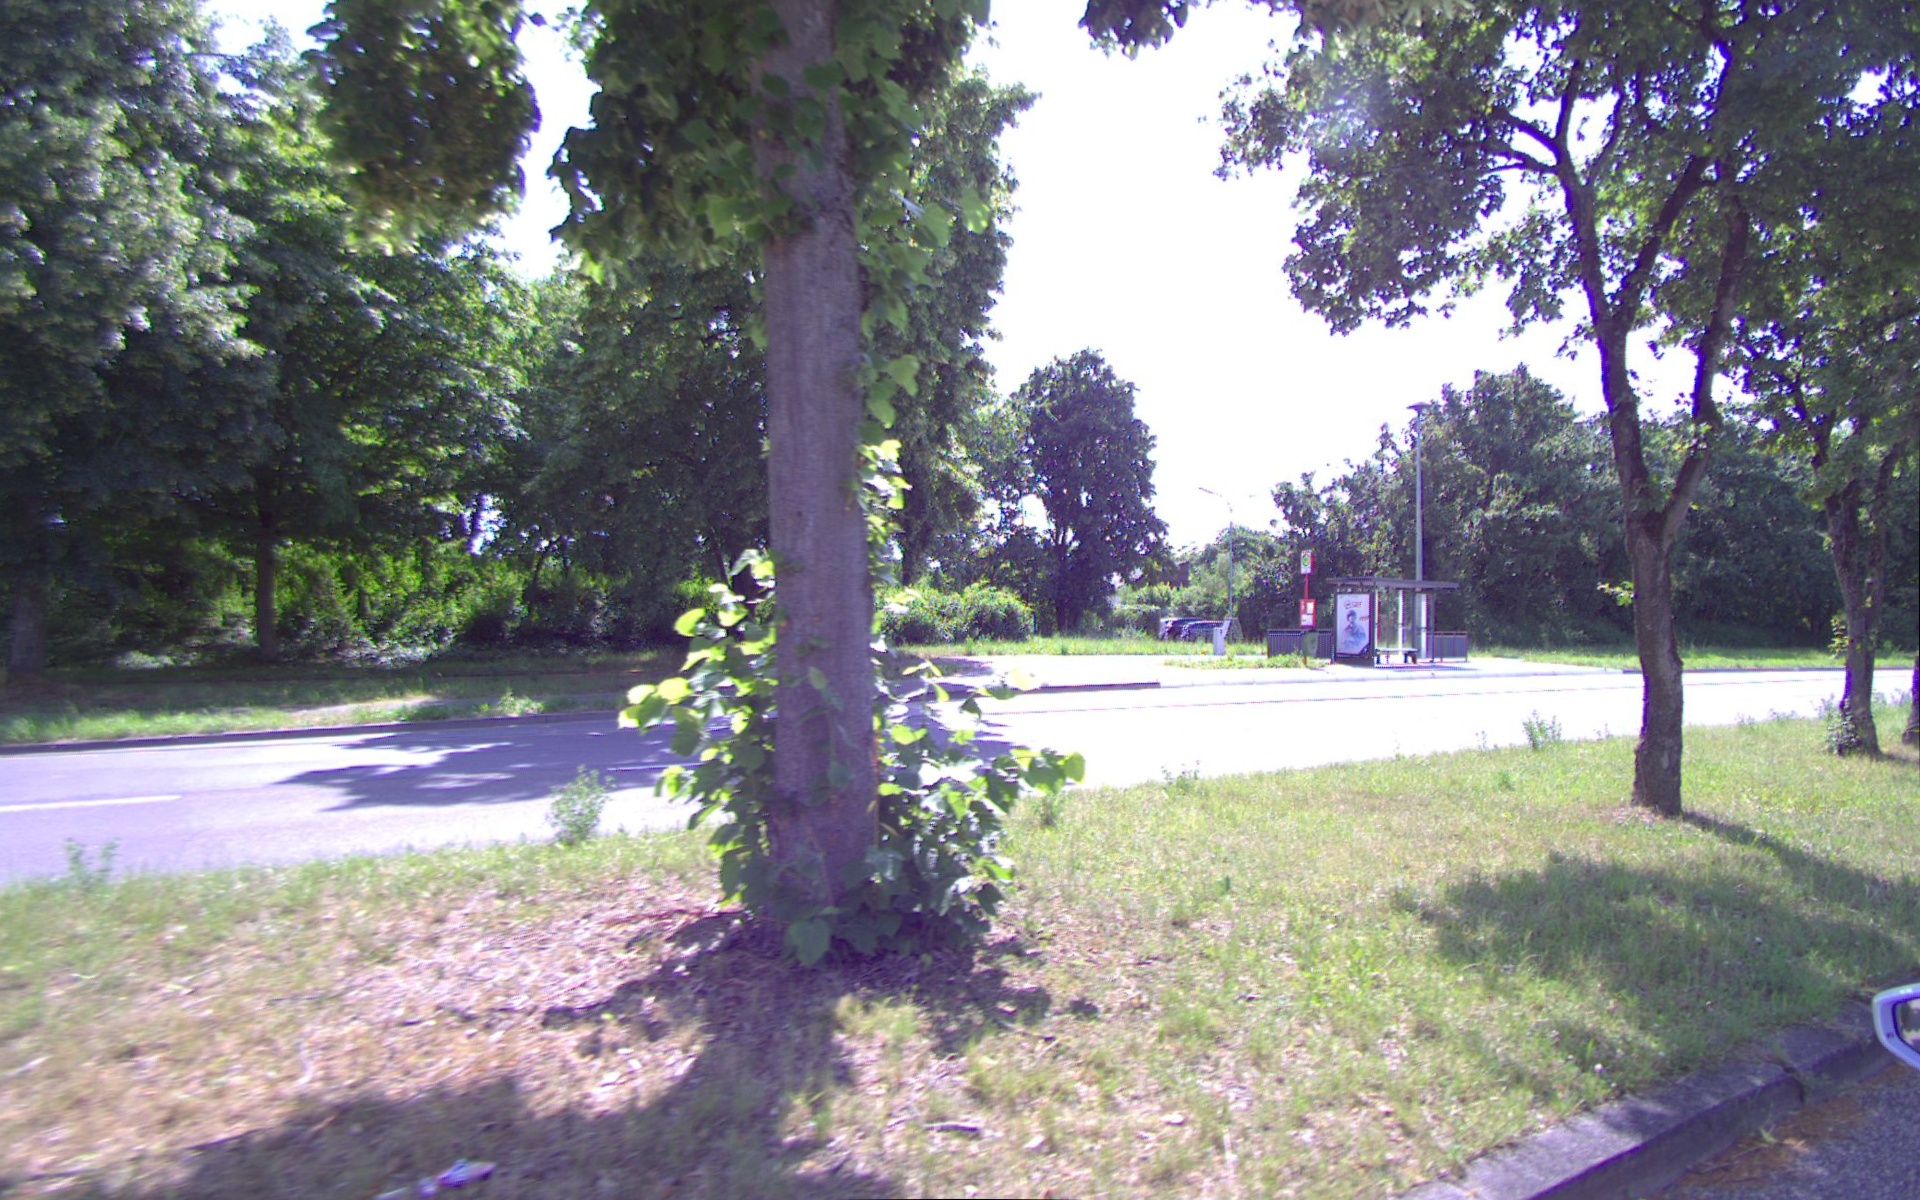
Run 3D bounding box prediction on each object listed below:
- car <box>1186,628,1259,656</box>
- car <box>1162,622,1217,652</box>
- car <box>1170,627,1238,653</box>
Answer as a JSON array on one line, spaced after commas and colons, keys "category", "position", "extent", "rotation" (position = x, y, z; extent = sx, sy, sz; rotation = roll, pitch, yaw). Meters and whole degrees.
[{"category": "car", "position": [15.558, 2.470, 59.684], "extent": [3.919, 1.528, 1.761], "rotation": [1, 0, 5]}, {"category": "car", "position": [14.955, 2.385, 65.605], "extent": [3.256, 1.827, 1.761], "rotation": [1, 0, 5]}, {"category": "car", "position": [15.247, 2.500, 62.896], "extent": [3.919, 1.528, 1.761], "rotation": [1, 0, 5]}]
